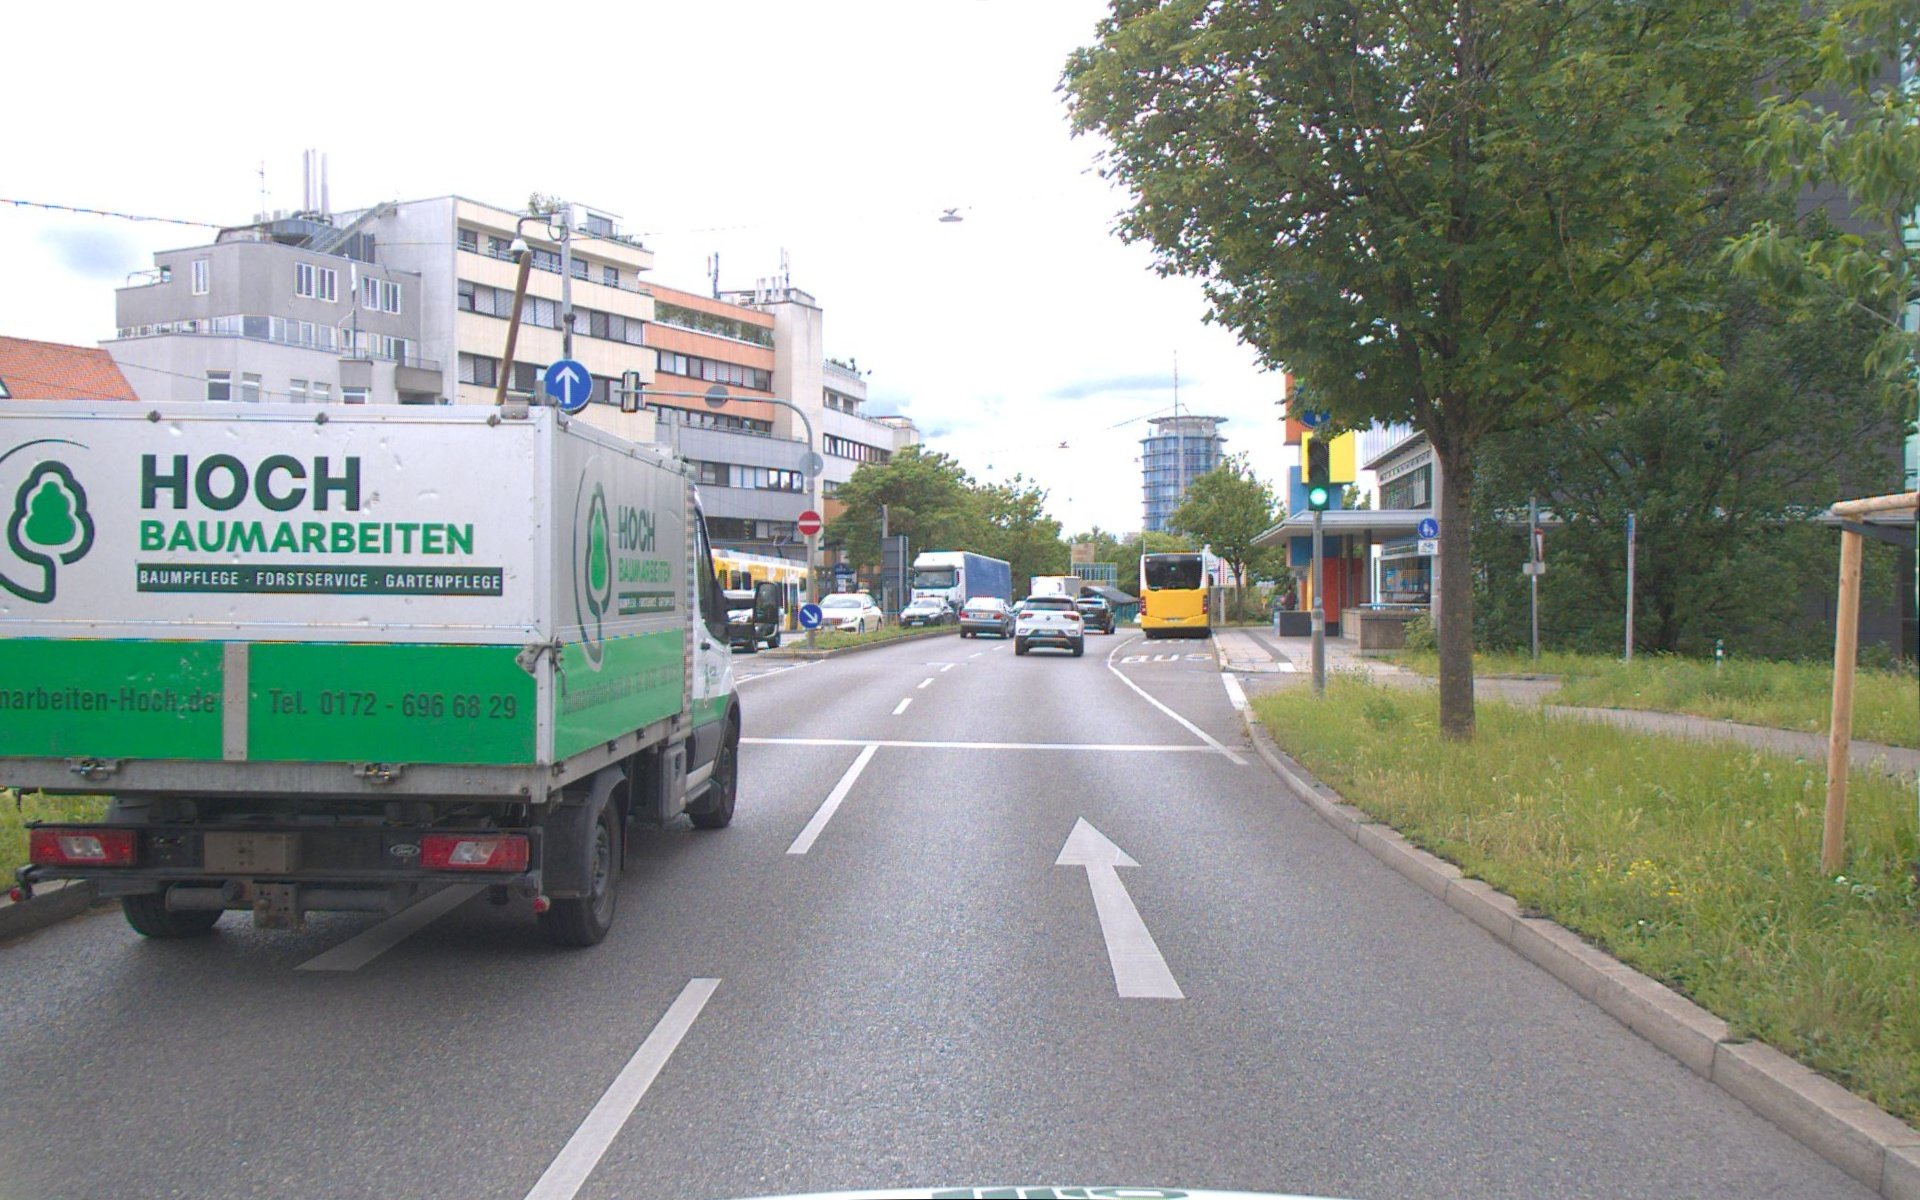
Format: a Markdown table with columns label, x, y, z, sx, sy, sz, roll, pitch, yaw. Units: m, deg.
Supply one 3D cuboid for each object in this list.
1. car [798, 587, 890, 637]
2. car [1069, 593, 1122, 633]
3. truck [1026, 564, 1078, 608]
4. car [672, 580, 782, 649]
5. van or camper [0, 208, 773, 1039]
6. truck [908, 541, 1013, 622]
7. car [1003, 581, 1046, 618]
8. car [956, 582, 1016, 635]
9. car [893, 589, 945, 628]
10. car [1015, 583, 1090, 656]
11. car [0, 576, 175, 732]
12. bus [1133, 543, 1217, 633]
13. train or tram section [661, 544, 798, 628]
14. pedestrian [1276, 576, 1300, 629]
| label | x | y | z | sx | sy | sz | roll | pitch | yaw |
| --- | --- | --- | --- | --- | --- | --- | --- | --- | --- |
| car | -3.777 | 0.358 | 54.779 | 1.923 | 1.525 | 4.780 | 1 | 1 | 10 |
| car | 5.895 | 0.538 | 71.426 | 1.664 | 1.542 | 3.497 | 1 | 2 | 15 |
| truck | 6.848 | -1.042 | 121.876 | 3.017 | 3.081 | 9.366 | 0 | 1 | 8 |
| car | -5.816 | 0.354 | 41.764 | 1.858 | 1.646 | 4.277 | 0 | 0 | 4 |
| van or camper | -2.444 | -0.007 | 8.447 | 2.295 | 2.708 | 5.965 | 1 | 2 | -1 |
| truck | 0.265 | -1.077 | 93.985 | 2.891 | 4.151 | 16.617 | 1 | 1 | 11 |
| car | 3.727 | -0.045 | 94.766 | 1.951 | 2.049 | 5.201 | 0 | 1 | 8 |
| car | 0.939 | 0.272 | 57.613 | 1.663 | 1.541 | 3.741 | 1 | 4 | 7 |
| car | -1.710 | 0.354 | 69.525 | 1.663 | 1.542 | 3.496 | 1 | 0 | 7 |
| car | 2.501 | 0.473 | 44.097 | 1.664 | 1.574 | 3.740 | 4 | 4 | 7 |
| car | -10.528 | 0.529 | 17.822 | 1.952 | 1.526 | 4.395 | 0 | 1 | 1 |
| bus | 8.614 | -0.497 | 65.408 | 2.891 | 3.246 | 9.937 | 1 | 1 | 10 |
| train or tram section | -10.170 | -0.599 | 74.760 | 2.505 | 3.470 | 13.093 | 0 | 0 | 9 |
| pedestrian | 11.394 | 0.088 | 57.450 | 0.695 | 1.847 | 0.764 | 0 | 0 | -1 |
